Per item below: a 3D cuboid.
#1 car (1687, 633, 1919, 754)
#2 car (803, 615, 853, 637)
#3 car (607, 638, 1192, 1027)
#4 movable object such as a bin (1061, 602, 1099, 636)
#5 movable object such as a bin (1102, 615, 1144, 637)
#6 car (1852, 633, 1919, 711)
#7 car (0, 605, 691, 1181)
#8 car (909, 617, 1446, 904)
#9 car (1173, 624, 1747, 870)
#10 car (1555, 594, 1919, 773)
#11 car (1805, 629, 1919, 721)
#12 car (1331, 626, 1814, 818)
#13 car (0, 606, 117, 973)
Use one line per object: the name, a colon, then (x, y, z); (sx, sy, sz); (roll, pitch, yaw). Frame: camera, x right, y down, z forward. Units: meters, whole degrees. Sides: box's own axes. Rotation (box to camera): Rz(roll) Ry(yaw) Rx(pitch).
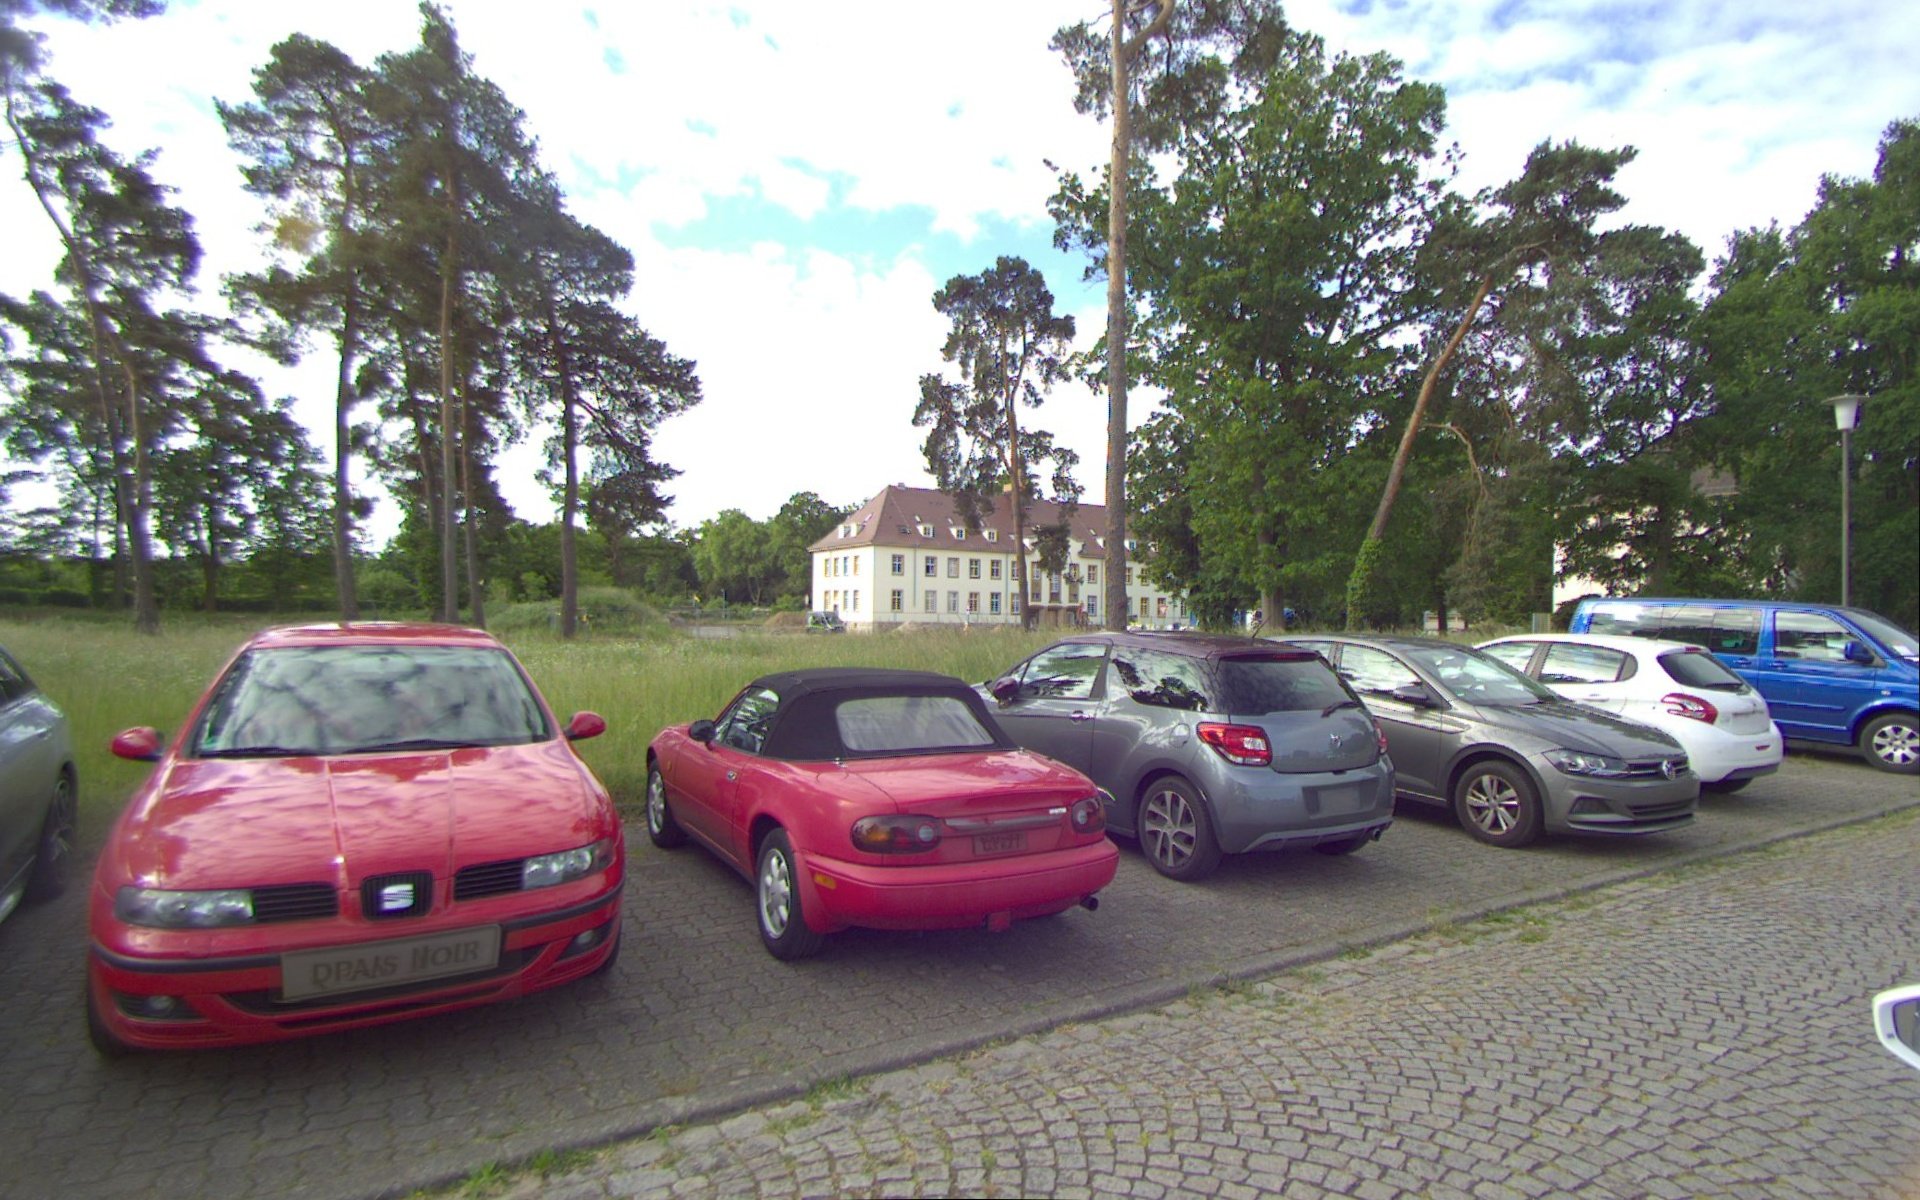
car: (12.987, 1.296, 14.427); (1.708, 1.513, 3.770); (1, 0, -34)
car: (-13.748, 2.666, 104.358); (2.352, 2.143, 5.756); (4, -2, -40)
car: (-0.733, 0.946, 5.956); (1.744, 1.300, 4.109); (1, 0, -31)
movable object such as a bin: (13.773, 2.169, 115.458); (2.106, 3.689, 6.118); (2, -2, -15)
movable object such as a bin: (18.015, 2.890, 111.264); (2.350, 2.283, 4.491); (3, -2, -27)
car: (20.274, 1.464, 19.716); (1.742, 1.506, 3.795); (1, 0, -32)
car: (-2.844, 0.787, 4.896); (1.834, 1.474, 4.231); (1, 0, -31)
car: (1.316, 0.919, 7.690); (1.735, 1.500, 4.068); (1, 0, -30)
car: (3.976, 1.010, 8.800); (1.711, 1.500, 4.284); (1, 0, -30)
car: (10.760, 0.950, 13.186); (2.016, 2.007, 4.683); (1, 0, -32)
car: (18.065, 1.370, 18.045); (1.933, 1.596, 4.044); (1, 0, -33)
car: (6.180, 1.083, 10.628); (1.821, 1.522, 3.986); (1, 0, -30)
car: (-4.642, 0.762, 3.458); (1.927, 1.474, 4.414); (2, -1, -31)
